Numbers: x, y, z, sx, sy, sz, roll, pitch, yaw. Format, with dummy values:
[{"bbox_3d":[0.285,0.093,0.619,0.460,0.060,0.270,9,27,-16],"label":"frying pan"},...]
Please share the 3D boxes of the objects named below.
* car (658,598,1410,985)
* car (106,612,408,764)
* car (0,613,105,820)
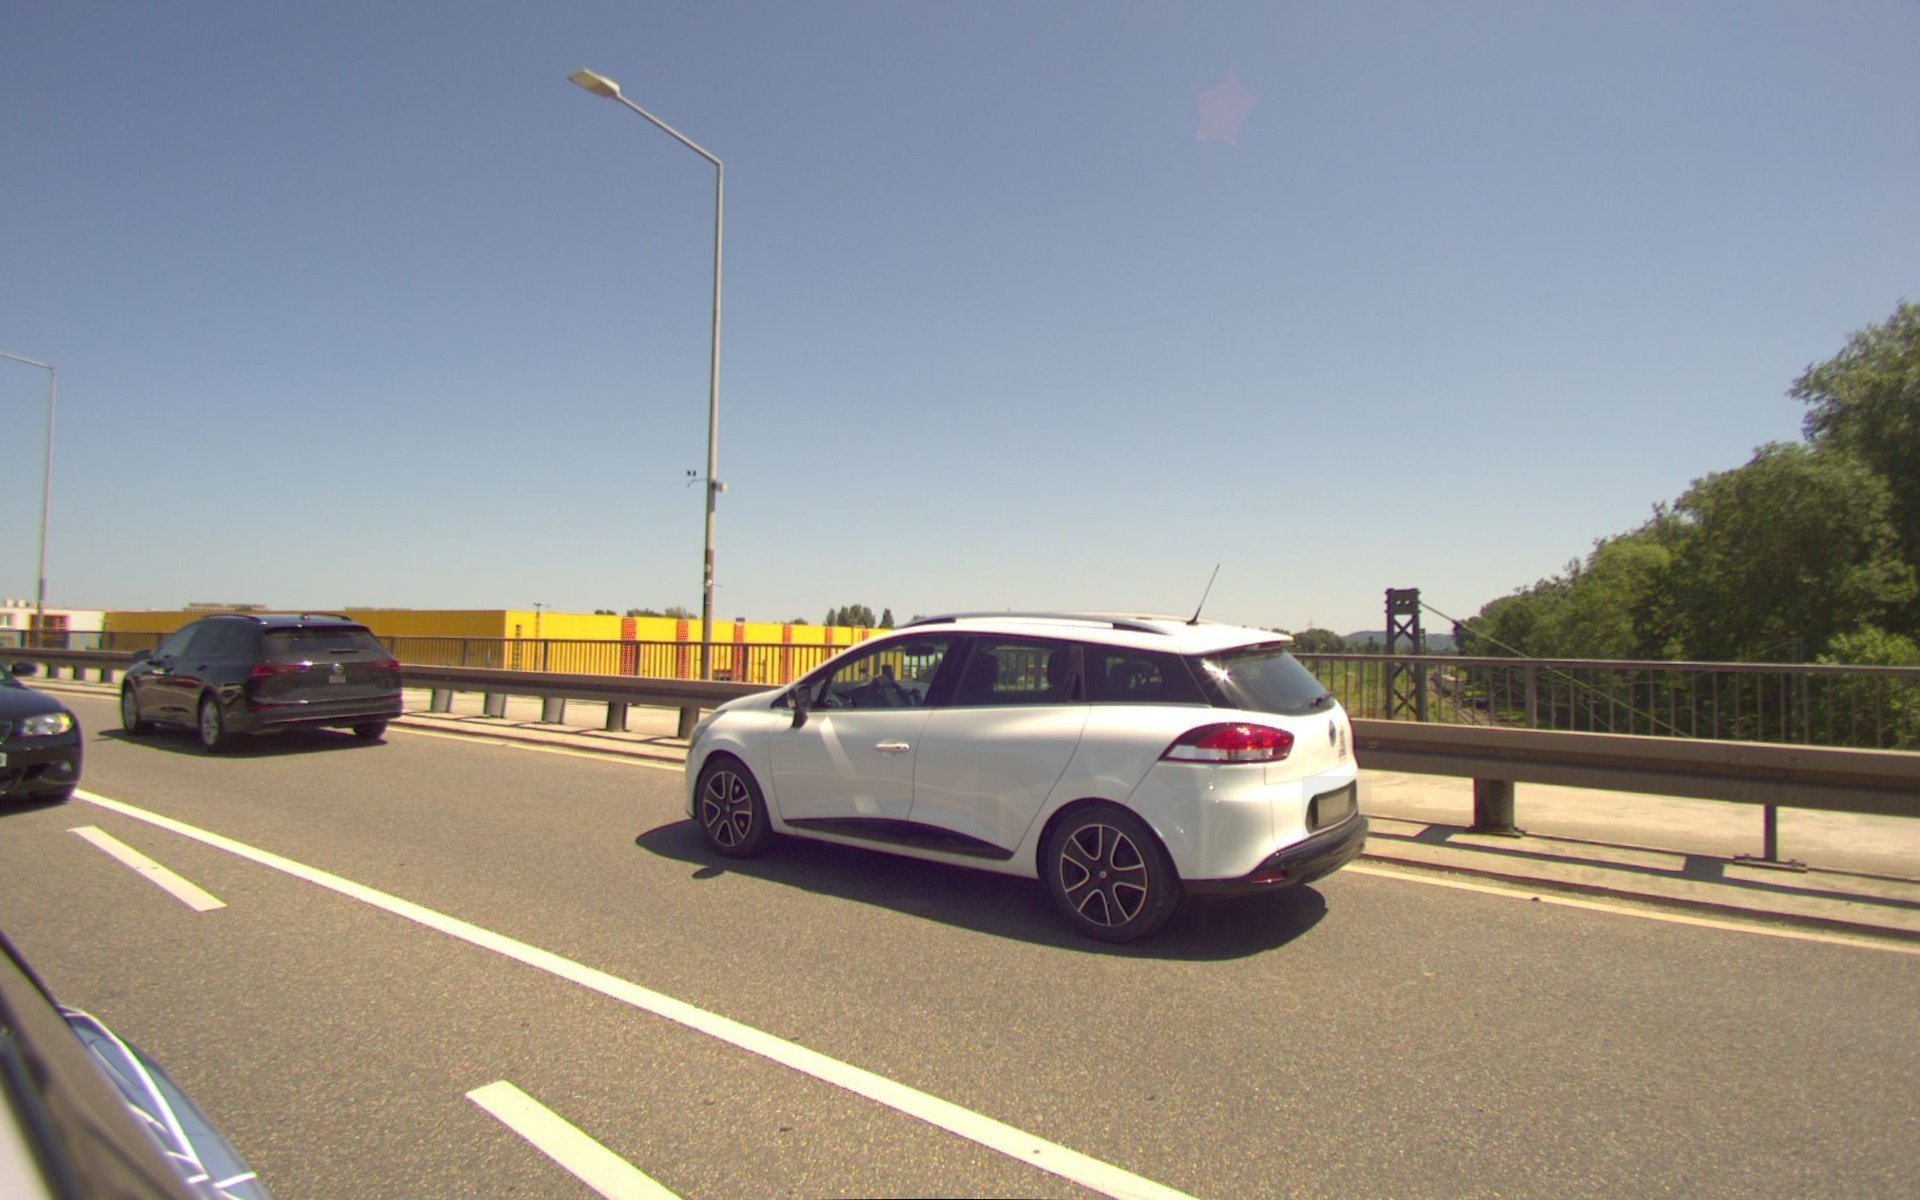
[{"bbox_3d":[0.183,0.755,5.710,4.050,1.460,1.584,-1,-1,38],"label":"car"},{"bbox_3d":[-8.364,0.895,11.891,4.453,1.480,1.694,-1,-1,38],"label":"car"},{"bbox_3d":[-8.813,0.844,8.227,4.513,1.466,1.774,-1,-1,35],"label":"car"}]
